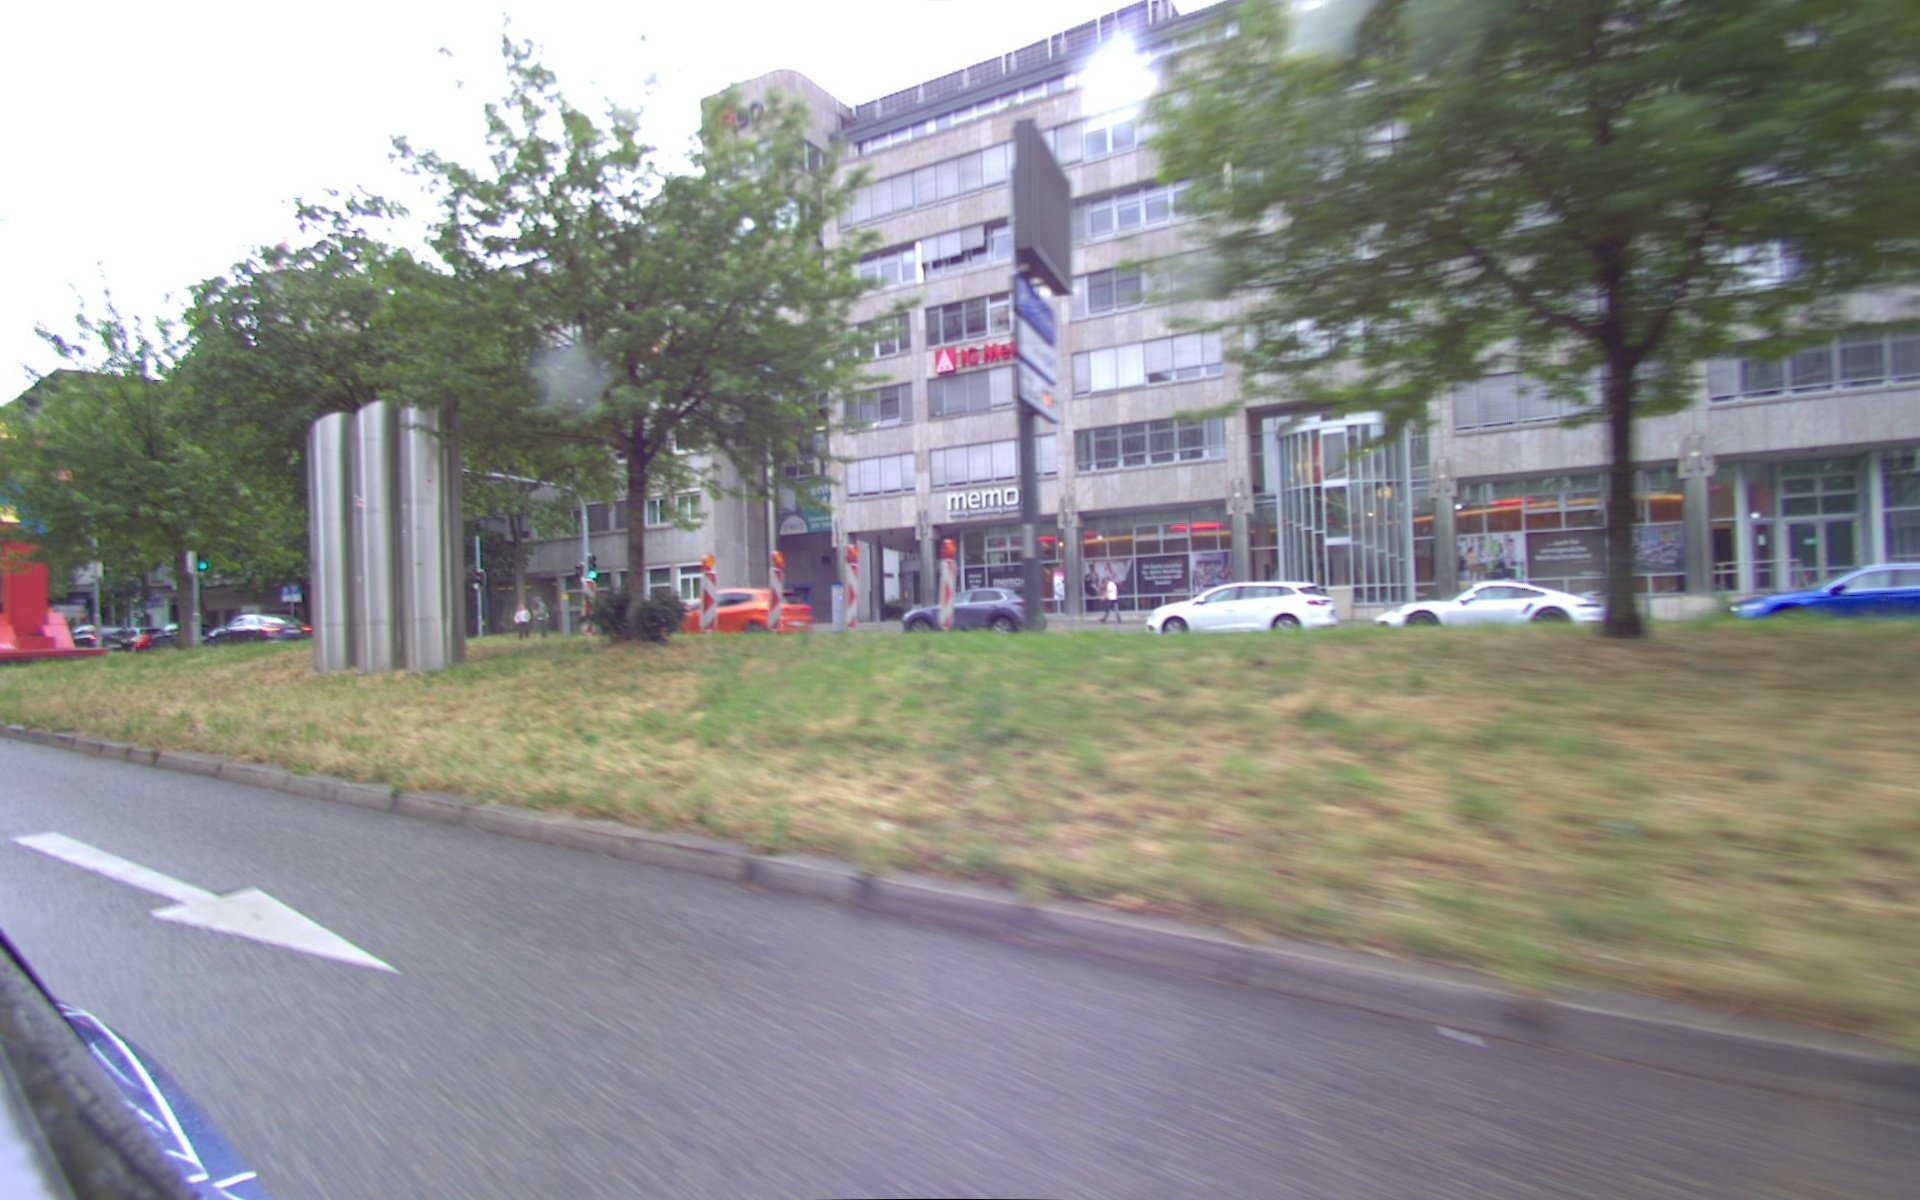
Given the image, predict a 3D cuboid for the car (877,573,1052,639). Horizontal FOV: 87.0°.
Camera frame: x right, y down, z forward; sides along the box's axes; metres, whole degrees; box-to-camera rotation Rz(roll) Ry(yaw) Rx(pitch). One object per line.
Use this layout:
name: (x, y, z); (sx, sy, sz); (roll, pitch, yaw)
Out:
car: (0.078, 0.205, 29.145); (4.778, 1.739, 1.847); (-2, -1, 33)

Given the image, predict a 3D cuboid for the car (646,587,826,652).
car: (-5.479, 0.495, 24.620); (4.115, 1.440, 1.849); (-2, -2, 30)

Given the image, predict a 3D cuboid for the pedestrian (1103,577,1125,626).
pedestrian: (5.802, 0.047, 38.155); (0.527, 1.801, 0.714); (-2, -1, 28)

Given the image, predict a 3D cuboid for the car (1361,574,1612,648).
car: (11.430, 0.281, 22.129); (4.670, 1.412, 1.762); (-2, -2, 33)

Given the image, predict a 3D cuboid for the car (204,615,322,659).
car: (-25.137, 1.343, 36.443); (4.550, 1.440, 1.848); (-2, -2, 32)

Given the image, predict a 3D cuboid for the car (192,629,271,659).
car: (-37.979, 2.282, 52.722); (4.552, 1.440, 1.847); (-2, -2, 33)

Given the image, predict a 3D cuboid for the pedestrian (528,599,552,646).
pedestrian: (-16.316, 0.886, 39.294); (0.720, 1.801, 0.523); (-3, -1, 37)

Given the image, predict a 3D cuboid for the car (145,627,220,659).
car: (-42.414, 2.361, 55.187); (4.454, 1.634, 1.847); (-2, -2, 33)

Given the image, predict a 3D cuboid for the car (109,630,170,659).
car: (-46.809, 2.546, 57.715); (3.681, 1.514, 1.673); (-2, -2, 33)

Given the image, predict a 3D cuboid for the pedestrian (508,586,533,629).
pedestrian: (-17.176, 0.280, 39.550); (0.618, 1.641, 0.600); (-3, -1, 36)

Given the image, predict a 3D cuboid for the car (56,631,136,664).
car: (-39.513, 2.176, 46.259); (3.989, 1.425, 1.775); (-3, -3, 34)

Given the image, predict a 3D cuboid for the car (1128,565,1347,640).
car: (6.801, 0.109, 25.061); (4.898, 1.634, 1.762); (-2, -2, 33)

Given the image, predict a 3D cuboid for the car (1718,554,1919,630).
car: (17.520, -0.161, 19.441); (4.457, 1.335, 1.879); (-2, -1, 29)
